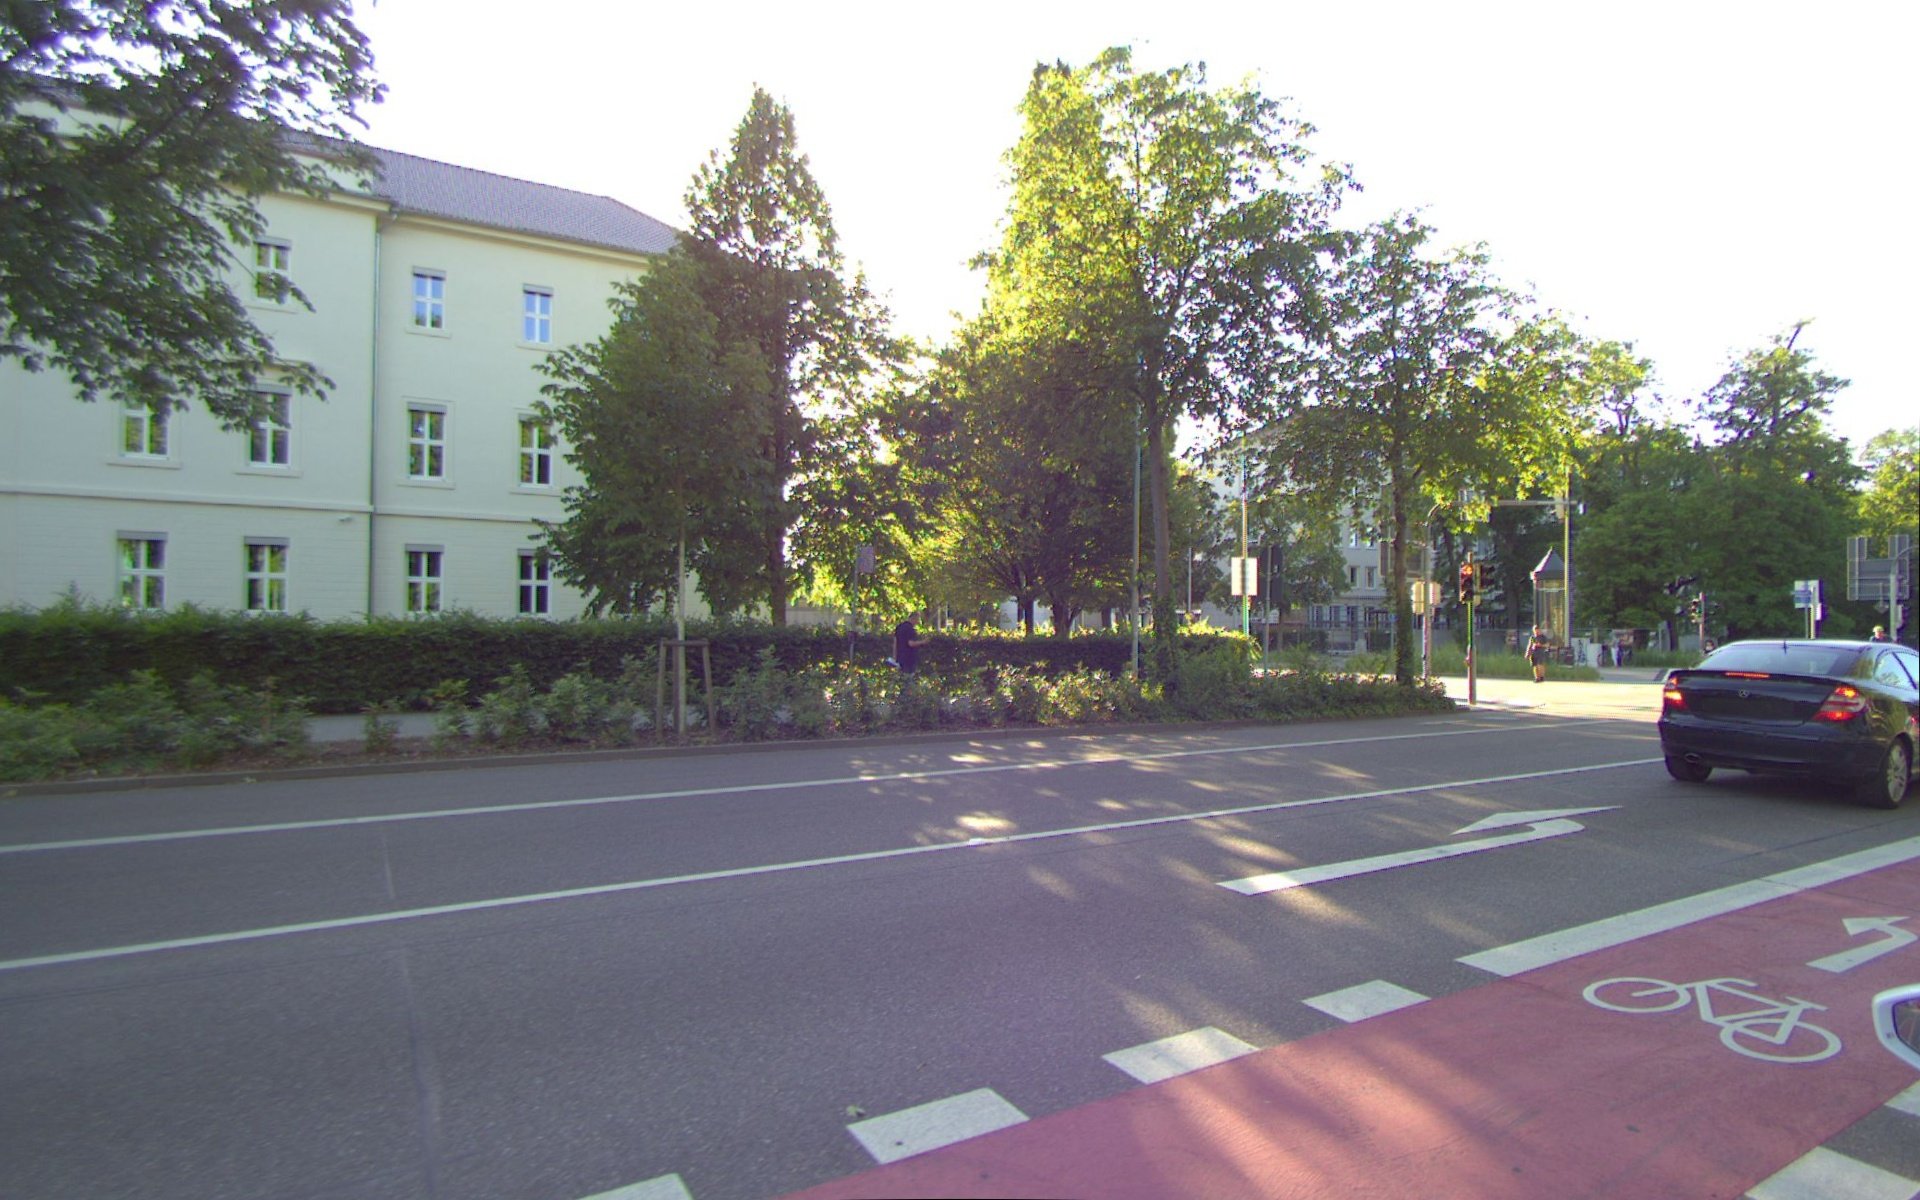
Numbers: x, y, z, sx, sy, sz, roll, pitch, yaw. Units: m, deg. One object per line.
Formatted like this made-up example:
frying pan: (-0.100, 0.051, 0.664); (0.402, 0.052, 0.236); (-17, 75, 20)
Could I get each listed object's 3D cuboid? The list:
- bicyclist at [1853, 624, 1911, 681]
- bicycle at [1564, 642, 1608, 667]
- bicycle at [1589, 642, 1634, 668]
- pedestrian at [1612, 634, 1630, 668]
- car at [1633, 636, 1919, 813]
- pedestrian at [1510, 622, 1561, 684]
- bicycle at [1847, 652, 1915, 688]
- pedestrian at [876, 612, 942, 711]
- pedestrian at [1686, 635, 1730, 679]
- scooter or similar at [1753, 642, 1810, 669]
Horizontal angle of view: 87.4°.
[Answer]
bicyclist: (26.758, 1.509, 29.154); (1.173, 1.629, 0.872); (1, -2, -28)
bicycle: (31.280, 2.692, 50.197); (0.439, 1.163, 1.849); (2, -1, -36)
bicycle: (31.706, 2.667, 48.872); (0.288, 1.163, 1.849); (2, -1, -36)
pedestrian: (31.762, 2.441, 48.267); (0.442, 1.601, 0.624); (1, -2, -39)
car: (8.653, 1.075, 9.896); (4.214, 1.423, 1.697); (1, -2, -30)
pedestrian: (19.576, 1.790, 34.183); (1.175, 2.040, 0.992); (2, -1, -25)
bicycle: (26.703, 2.016, 29.115); (2.473, 1.002, 0.661); (1, -2, -28)
pedestrian: (-0.941, 1.101, 18.329); (0.956, 1.743, 0.831); (1, -2, -28)
pedestrian: (28.535, 2.160, 38.325); (0.992, 1.624, 1.080); (1, -2, -36)
scooter or similar: (36.834, 2.495, 45.049); (1.882, 1.139, 0.713); (1, -1, 3)
